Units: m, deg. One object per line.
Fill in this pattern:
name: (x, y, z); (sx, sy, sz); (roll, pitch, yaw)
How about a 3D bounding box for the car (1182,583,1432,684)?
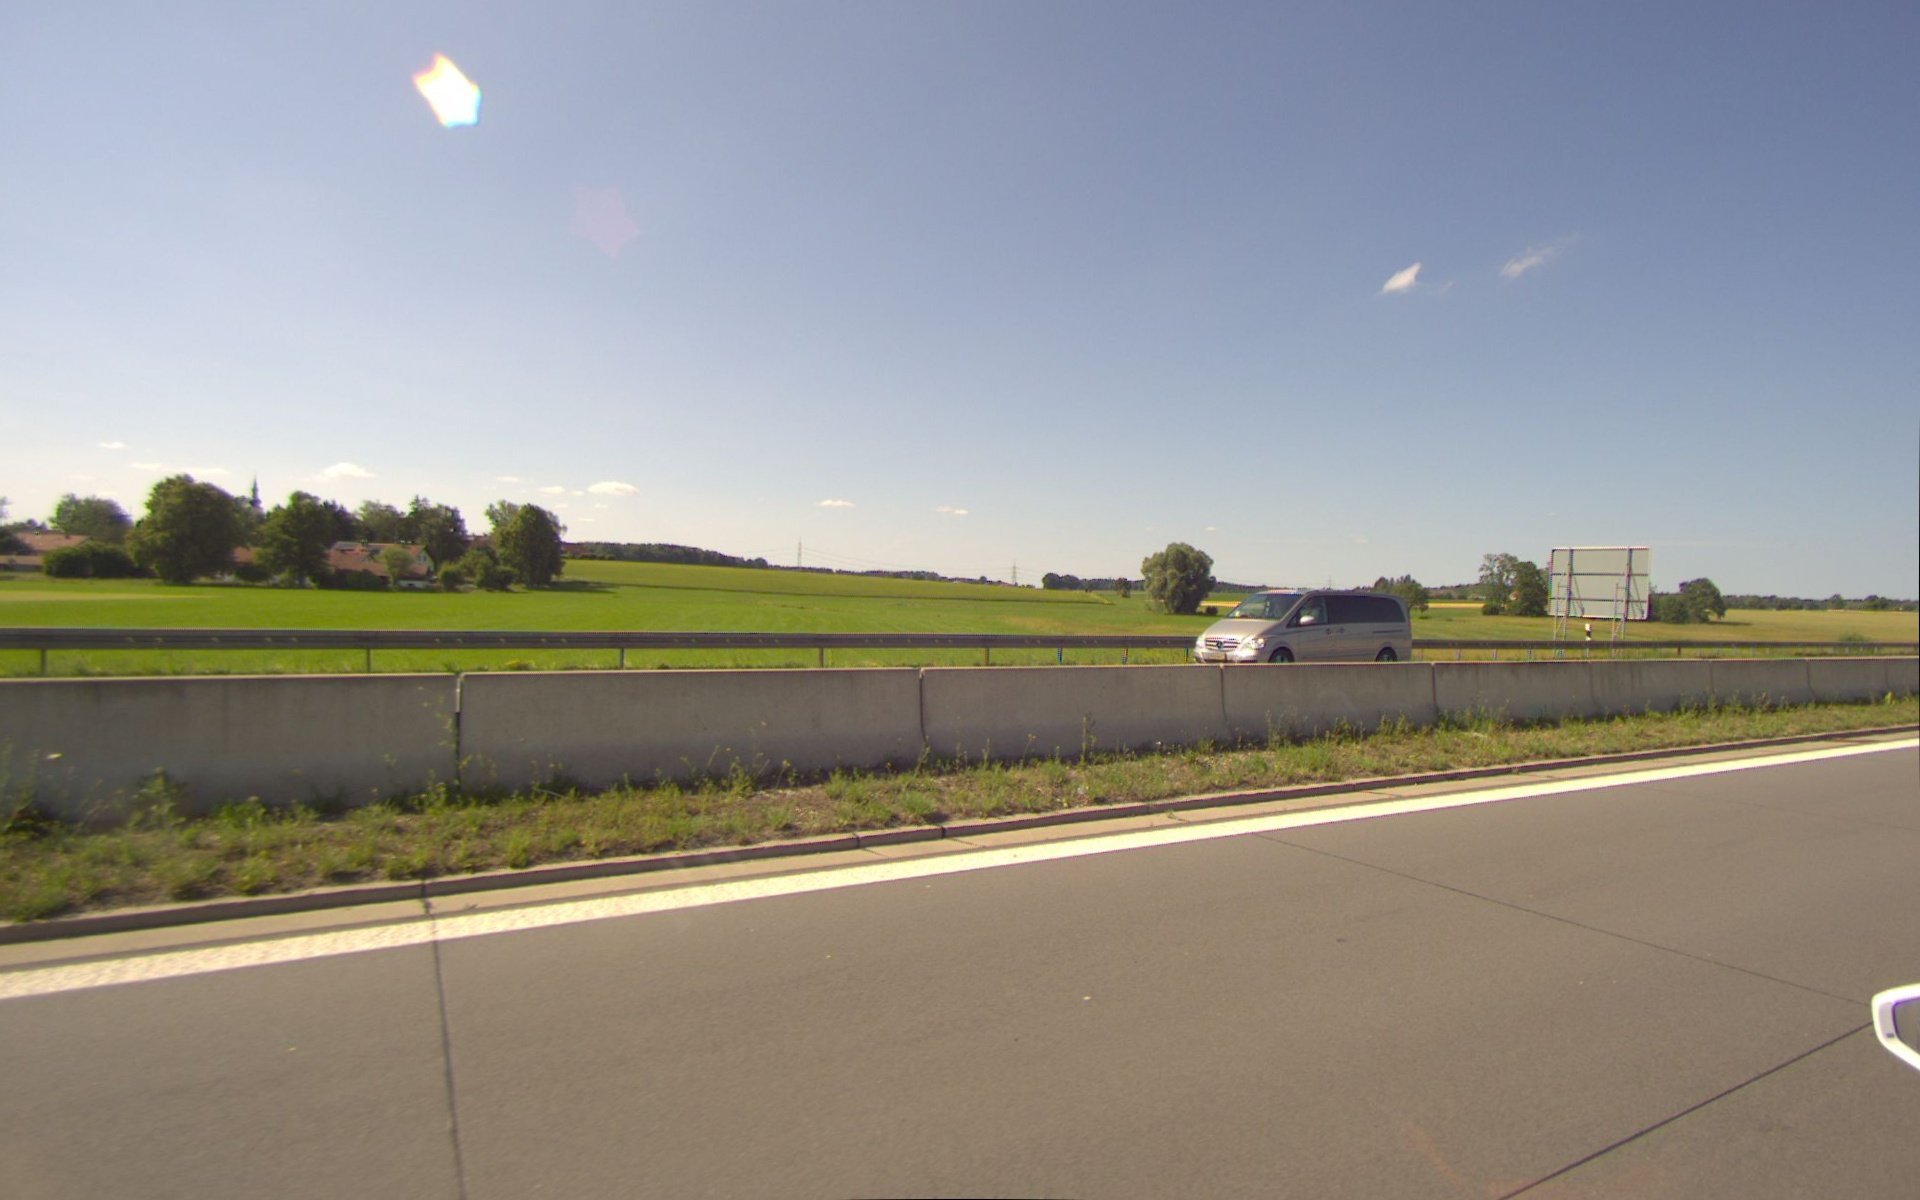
car: (7.280, 0.683, 20.879); (5.387, 1.866, 1.944); (1, -1, -31)
